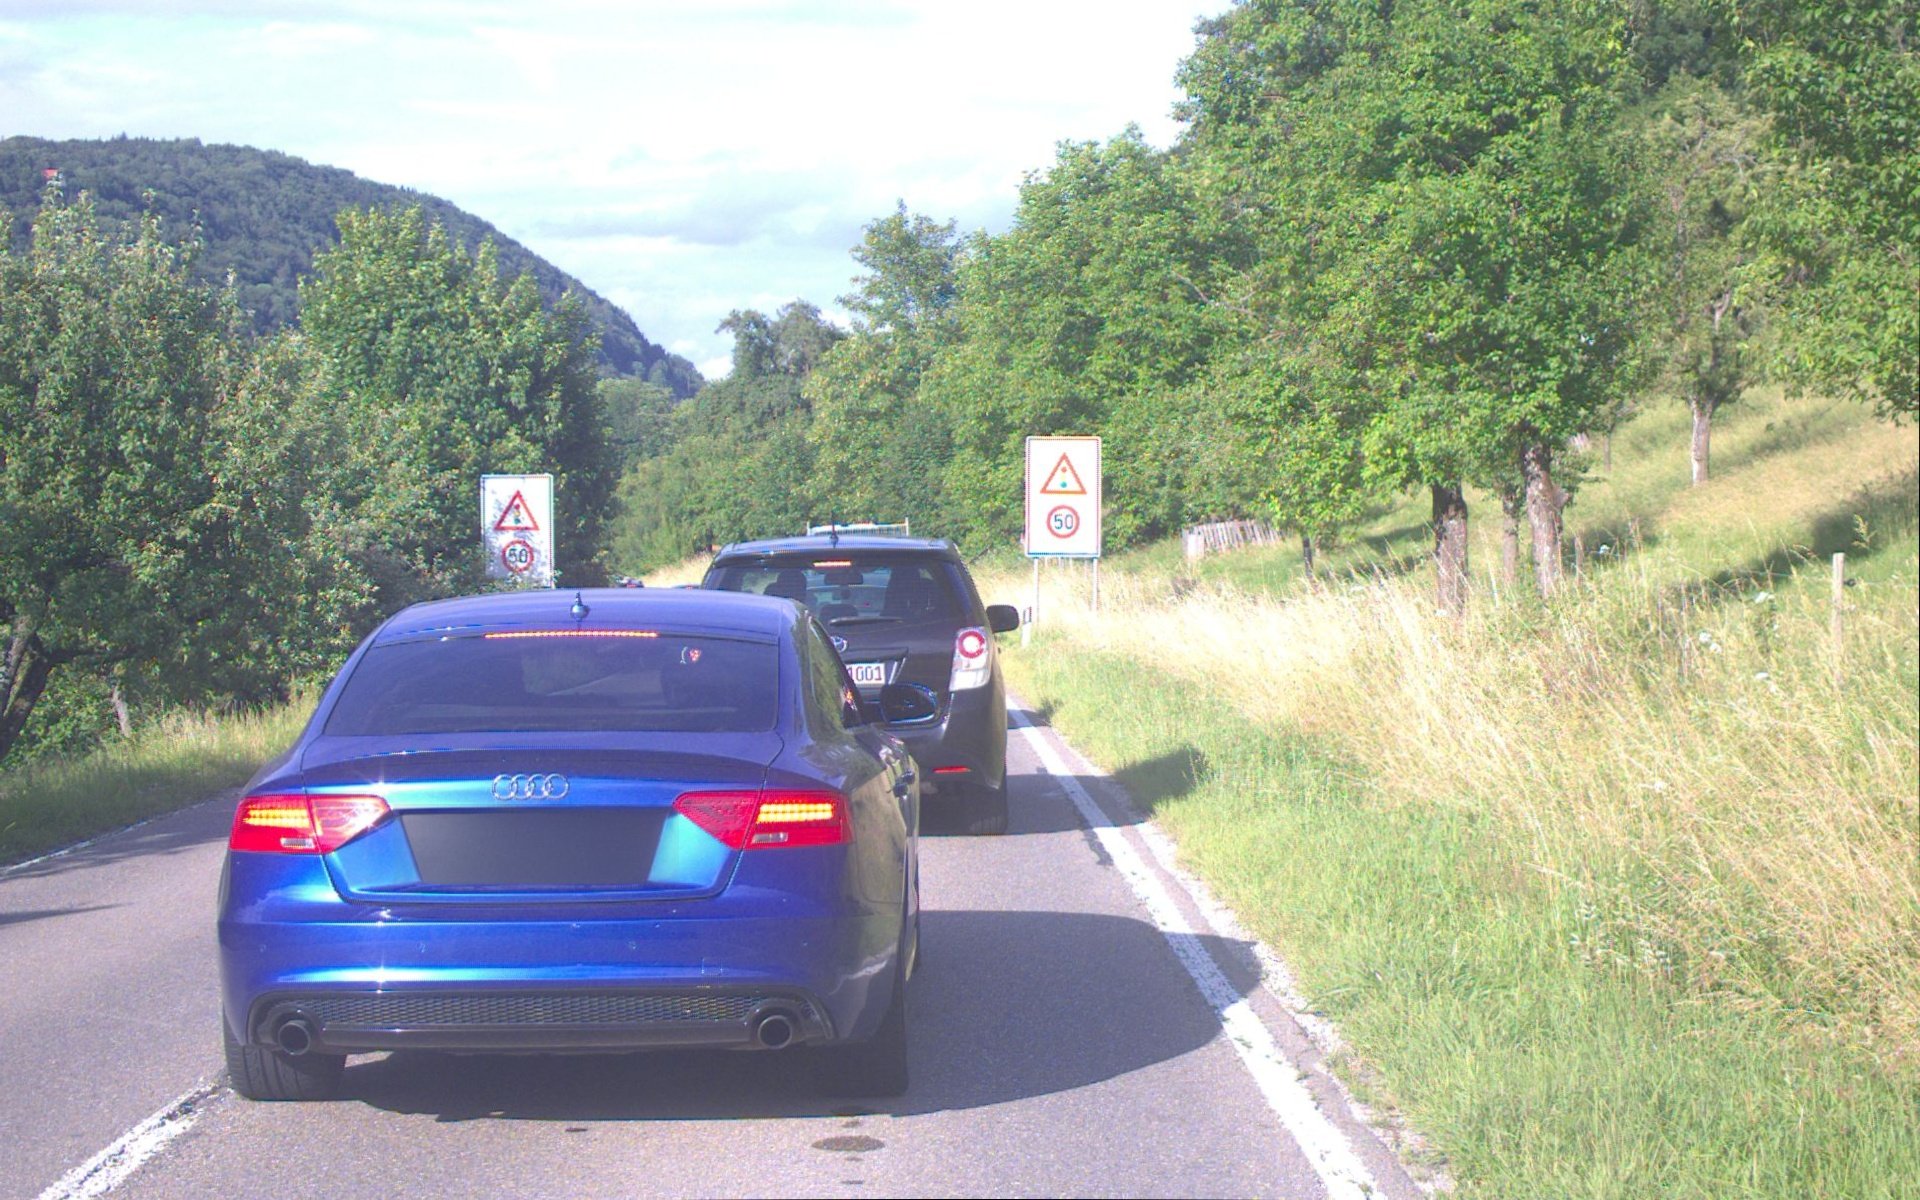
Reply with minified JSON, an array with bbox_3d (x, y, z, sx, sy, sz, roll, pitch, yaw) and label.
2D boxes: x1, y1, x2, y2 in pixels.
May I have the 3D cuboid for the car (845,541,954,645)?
[{"bbox_3d":[-0.979,-0.144,55.663,1.692,1.618,3.789,0,1,-1],"label":"car"}]

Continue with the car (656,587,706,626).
[{"bbox_3d":[-11.602,0.258,142.884,1.558,1.490,3.779,2,1,-12],"label":"car"}]

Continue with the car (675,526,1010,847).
[{"bbox_3d":[-0.629,0.407,19.338,1.692,1.618,3.789,0,1,-1],"label":"car"}]

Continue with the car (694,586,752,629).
[{"bbox_3d":[-8.896,0.270,128.815,1.747,1.490,3.779,2,1,-10],"label":"car"}]

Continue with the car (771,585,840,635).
[{"bbox_3d":[-4.987,0.318,110.461,1.747,1.490,3.779,2,1,-9],"label":"car"}]

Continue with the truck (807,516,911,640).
[{"bbox_3d":[-2.026,-0.460,69.075,1.950,2.337,5.094,2,1,-2],"label":"truck"}]

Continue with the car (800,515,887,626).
[{"bbox_3d":[-2.699,-0.687,78.974,1.792,2.445,3.920,2,1,-4],"label":"car"}]

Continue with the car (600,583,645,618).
[{"bbox_3d":[-15.840,0.014,161.312,1.558,1.490,3.779,2,1,-13],"label":"car"}]

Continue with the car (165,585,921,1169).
[{"bbox_3d":[-1.029,0.659,10.388,1.805,1.377,4.215,0,1,0],"label":"car"}]
